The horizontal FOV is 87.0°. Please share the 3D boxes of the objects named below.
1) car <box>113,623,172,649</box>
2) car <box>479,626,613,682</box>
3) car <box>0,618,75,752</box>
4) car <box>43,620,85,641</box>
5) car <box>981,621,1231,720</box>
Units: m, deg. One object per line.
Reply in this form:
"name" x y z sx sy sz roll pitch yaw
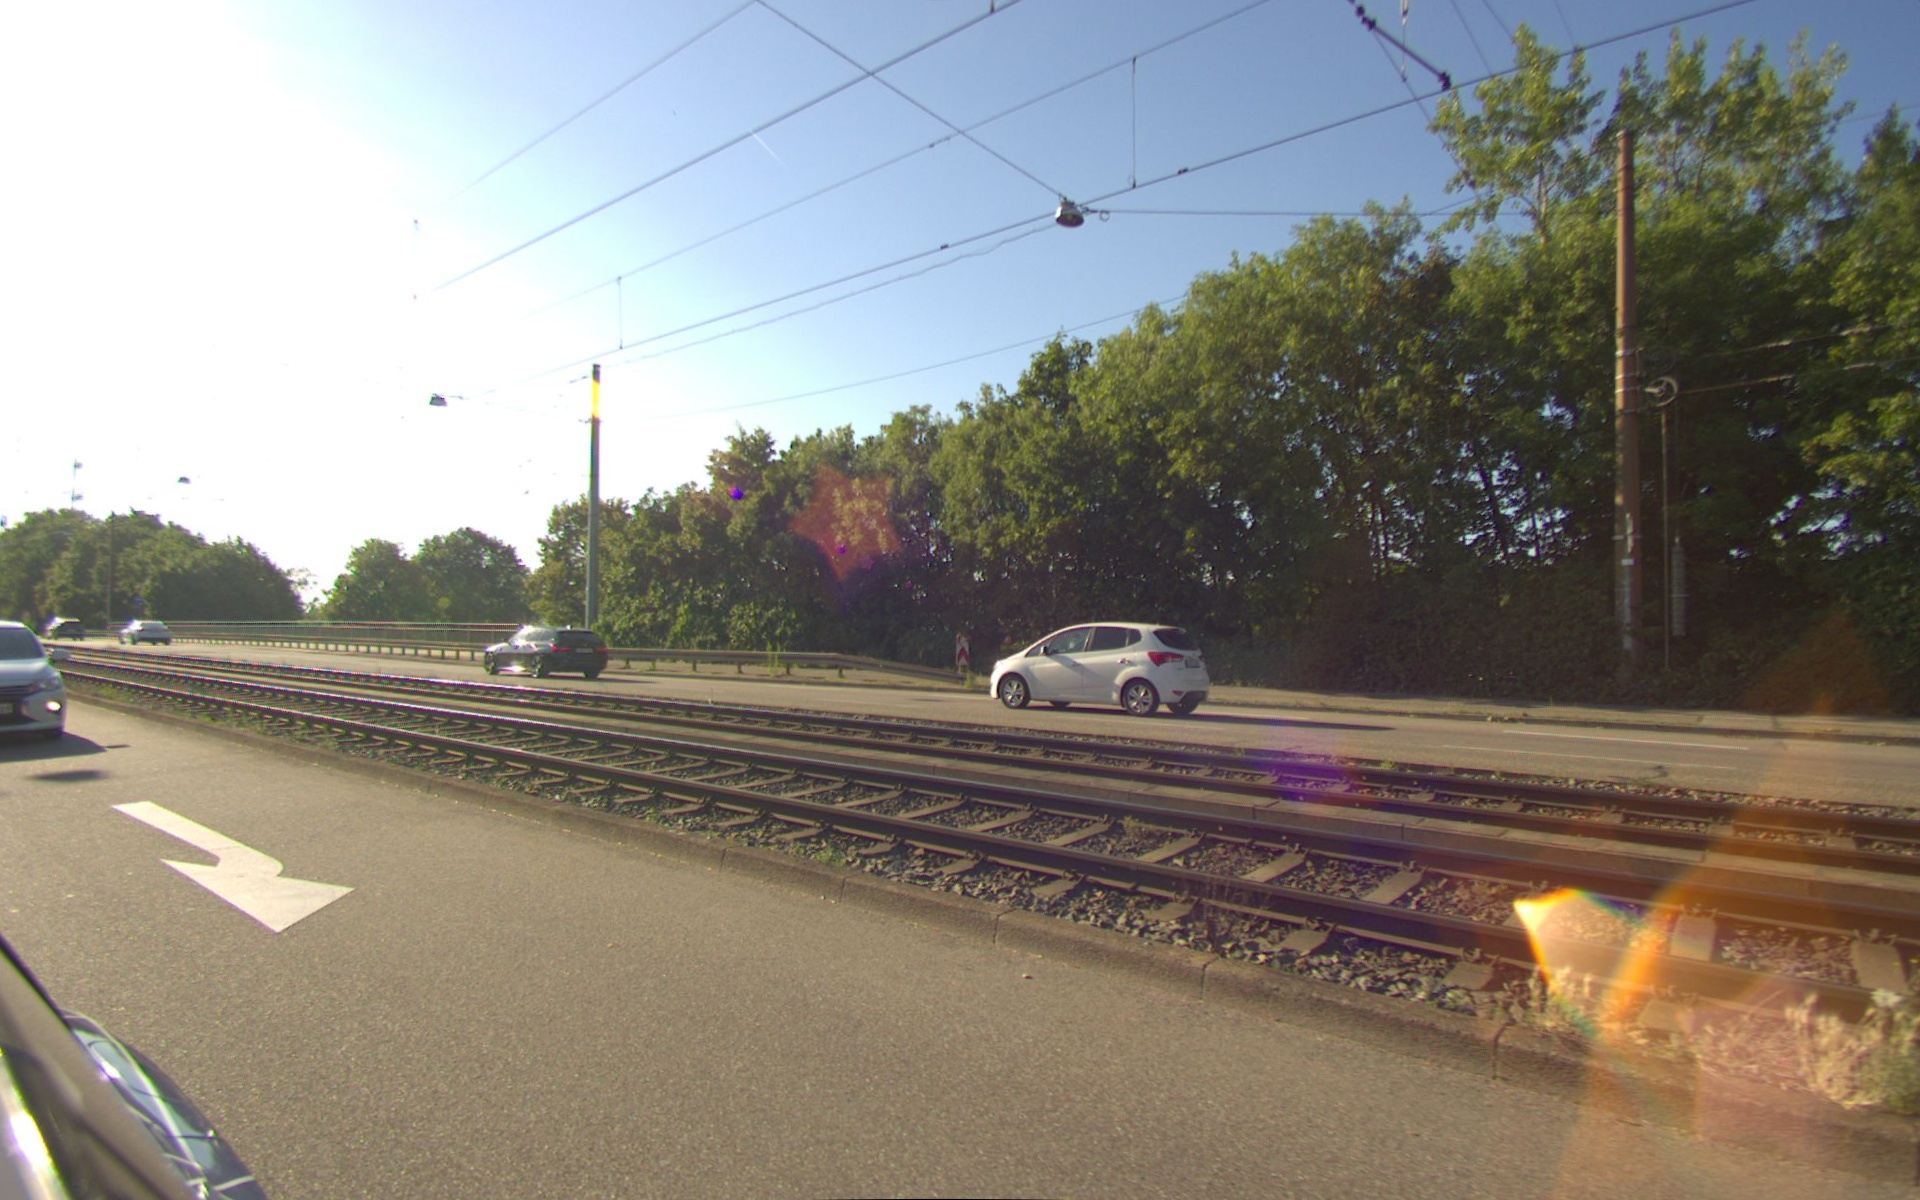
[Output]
"car" -49.787 2.169 61.592 4.872 1.425 1.737 -1 -4 39
"car" -11.847 1.515 28.809 4.499 1.443 1.640 -1 -4 41
"car" -12.596 1.004 12.743 3.860 1.523 1.687 -1 -1 41
"car" -68.827 2.315 77.719 4.796 1.592 1.692 -1 -2 39
"car" 2.551 1.201 18.188 4.186 1.568 1.675 -1 -3 39
